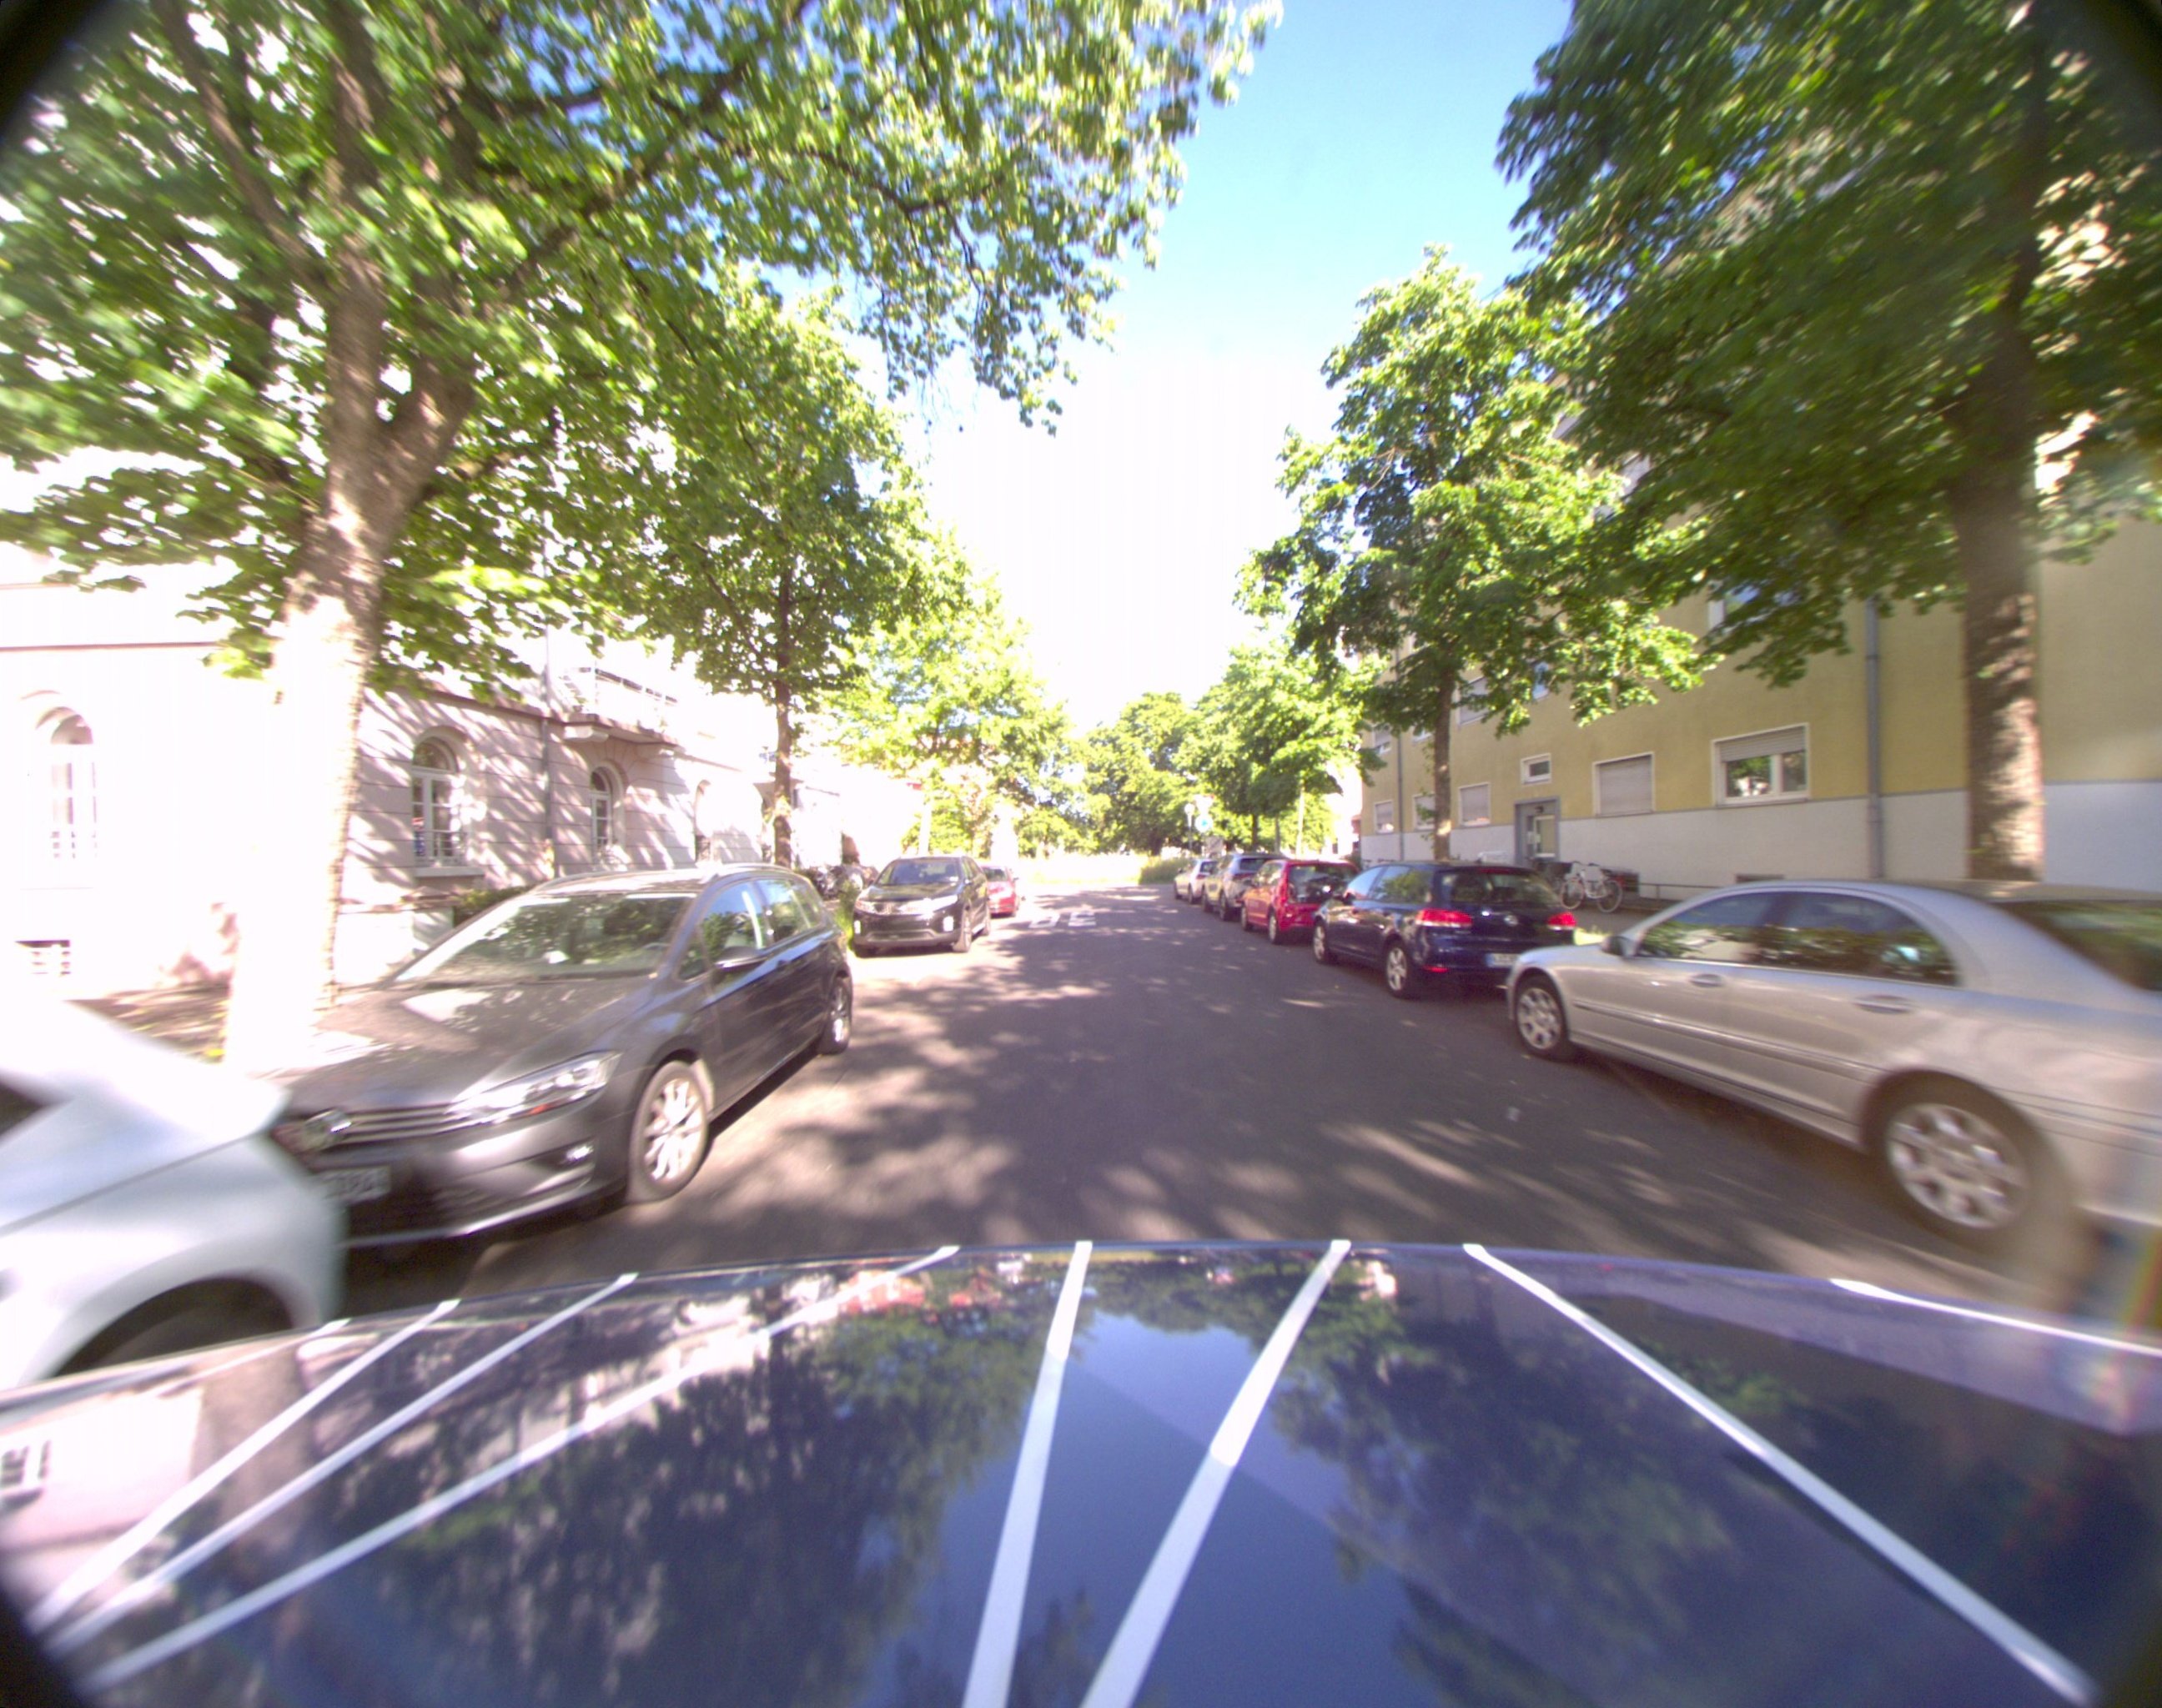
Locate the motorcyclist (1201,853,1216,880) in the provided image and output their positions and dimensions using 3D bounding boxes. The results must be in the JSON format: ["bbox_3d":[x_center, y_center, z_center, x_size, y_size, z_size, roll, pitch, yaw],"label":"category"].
[{"bbox_3d":[6.660,0.666,39.774,0.520,1.394,0.553,-1,1,-31],"label":"motorcyclist"}]

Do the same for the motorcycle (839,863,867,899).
[{"bbox_3d":[-8.438,0.975,28.137,0.658,1.272,1.799,1,0,-6],"label":"motorcycle"}]

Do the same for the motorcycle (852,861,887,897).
[{"bbox_3d":[-8.336,0.954,30.006,0.973,1.321,1.852,-1,0,-5],"label":"motorcycle"}]

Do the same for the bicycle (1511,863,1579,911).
[{"bbox_3d":[10.721,0.740,17.626,0.541,1.021,1.748,-1,0,2],"label":"bicycle"}]

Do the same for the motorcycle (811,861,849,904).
[{"bbox_3d":[-8.500,0.936,25.776,0.540,1.353,2.089,-1,0,0],"label":"motorcycle"}]

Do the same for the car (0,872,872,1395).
[{"bbox_3d":[-2.825,1.013,4.876,1.688,1.579,4.535,-3,0,-1],"label":"car"}]

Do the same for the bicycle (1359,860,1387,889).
[{"bbox_3d":[10.598,0.724,27.605,0.454,0.995,1.545,-1,0,1],"label":"bicycle"}]

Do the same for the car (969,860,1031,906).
[{"bbox_3d":[-2.700,0.931,26.075,1.657,1.394,4.135,-1,0,0],"label":"car"}]

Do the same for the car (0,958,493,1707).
[{"bbox_3d":[-2.761,1.057,0.280,1.634,1.417,4.368,-1,0,1],"label":"car"}]

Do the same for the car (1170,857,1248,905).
[{"bbox_3d":[4.182,0.840,25.416,1.765,1.433,3.993,-1,0,-3],"label":"car"}]

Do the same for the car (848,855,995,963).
[{"bbox_3d":[-2.764,0.872,14.136,1.785,1.688,4.297,-1,0,0],"label":"car"}]

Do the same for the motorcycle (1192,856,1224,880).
[{"bbox_3d":[6.634,0.728,39.754,1.635,1.168,0.553,-2,1,-30],"label":"motorcycle"}]

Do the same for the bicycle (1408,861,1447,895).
[{"bbox_3d":[10.601,0.728,23.307,0.513,0.995,1.545,-1,0,1],"label":"bicycle"}]

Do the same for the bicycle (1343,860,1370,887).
[{"bbox_3d":[10.609,0.731,29.289,0.476,0.995,1.545,-1,0,1],"label":"bicycle"}]

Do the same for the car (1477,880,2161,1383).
[{"bbox_3d":[4.167,0.912,4.035,1.750,1.361,4.674,0,0,1],"label":"car"}]

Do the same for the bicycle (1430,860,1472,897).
[{"bbox_3d":[10.521,0.681,21.640,0.516,0.995,1.545,-1,0,4],"label":"bicycle"}]

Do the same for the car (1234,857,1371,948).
[{"bbox_3d":[4.049,0.825,14.412,1.669,1.477,3.256,-1,0,1],"label":"car"}]

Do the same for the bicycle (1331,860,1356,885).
[{"bbox_3d":[10.678,0.734,30.931,0.477,0.995,1.545,-1,0,1],"label":"bicycle"}]

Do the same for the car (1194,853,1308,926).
[{"bbox_3d":[4.078,0.773,18.996,1.696,1.556,4.735,-1,0,-1],"label":"car"}]

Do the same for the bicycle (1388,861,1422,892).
[{"bbox_3d":[10.727,0.728,25.188,0.435,0.995,1.681,-1,0,1],"label":"bicycle"}]

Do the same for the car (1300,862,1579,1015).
[{"bbox_3d":[4.128,0.863,9.513,1.669,1.450,3.932,-1,0,1],"label":"car"}]

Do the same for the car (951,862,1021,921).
[{"bbox_3d":[-2.547,0.961,21.236,1.616,1.401,4.350,-1,0,-3],"label":"car"}]

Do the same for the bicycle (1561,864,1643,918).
[{"bbox_3d":[10.708,0.734,15.693,0.537,1.021,1.748,-1,0,2],"label":"bicycle"}]
